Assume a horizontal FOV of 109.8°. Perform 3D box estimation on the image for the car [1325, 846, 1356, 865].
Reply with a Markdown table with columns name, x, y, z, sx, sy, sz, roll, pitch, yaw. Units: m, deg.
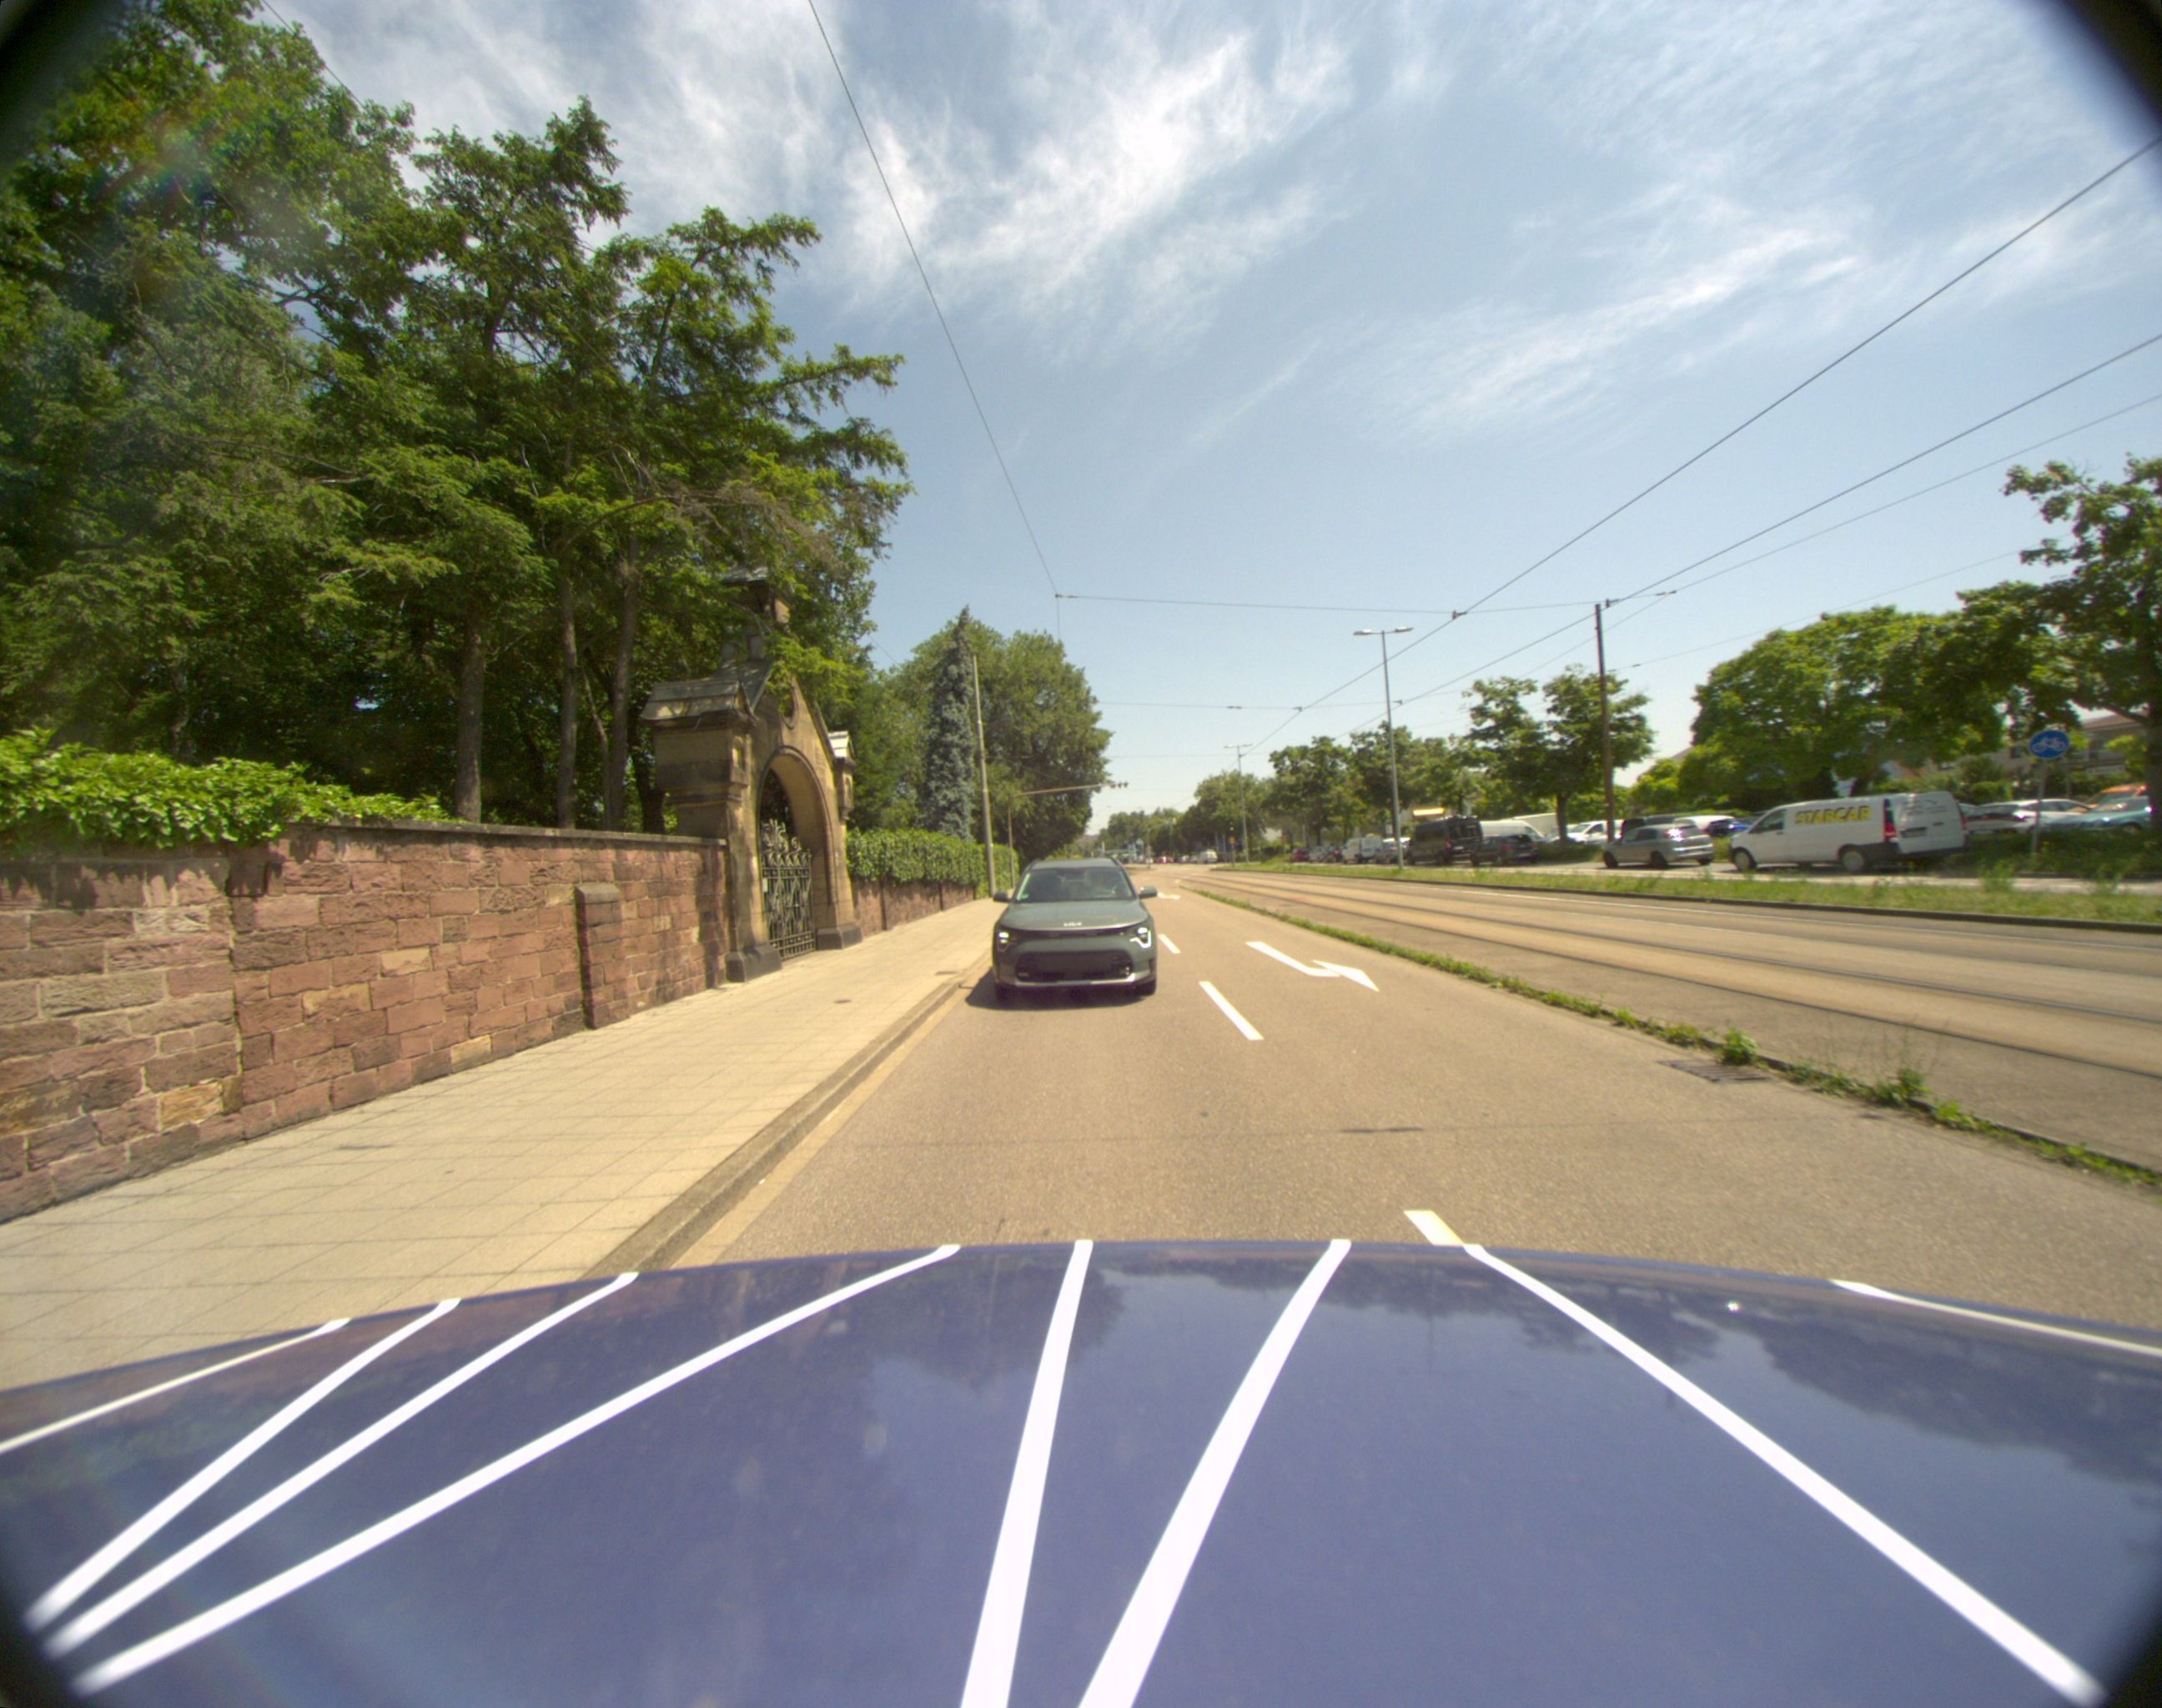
| name | x | y | z | sx | sy | sz | roll | pitch | yaw |
| --- | --- | --- | --- | --- | --- | --- | --- | --- | --- |
| car | 21.259 | 0.108 | 62.442 | 1.429 | 1.469 | 3.263 | -3 | 1 | 1 |

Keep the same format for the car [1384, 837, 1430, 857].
| name | x | y | z | sx | sy | sz | roll | pitch | yaw |
| --- | --- | --- | --- | --- | --- | --- | --- | --- | --- |
| car | 33.695 | -0.742 | 78.607 | 3.998 | 1.863 | 1.715 | -3 | 1 | -5 |

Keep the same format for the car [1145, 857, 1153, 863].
| name | x | y | z | sx | sy | sz | roll | pitch | yaw |
| --- | --- | --- | --- | --- | --- | --- | --- | --- | --- |
| car | 16.509 | 1.383 | 183.476 | 1.780 | 1.310 | 3.755 | -3 | 1 | 3 |

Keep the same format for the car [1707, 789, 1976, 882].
| name | x | y | z | sx | sy | sz | roll | pitch | yaw |
| --- | --- | --- | --- | --- | --- | --- | --- | --- | --- |
| car | 20.167 | -0.447 | 20.624 | 1.880 | 1.999 | 5.344 | -7 | 0 | 2 |

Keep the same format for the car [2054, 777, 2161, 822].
| name | x | y | z | sx | sy | sz | roll | pitch | yaw |
| --- | --- | --- | --- | --- | --- | --- | --- | --- | --- |
| car | 43.952 | -2.319 | 31.944 | 4.129 | 1.643 | 1.692 | -3 | 0 | -4 |

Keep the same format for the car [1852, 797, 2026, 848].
| name | x | y | z | sx | sy | sz | roll | pitch | yaw |
| --- | --- | --- | --- | --- | --- | --- | --- | --- | --- |
| car | 30.595 | -1.104 | 27.179 | 4.163 | 1.481 | 2.023 | -4 | 0 | -6 |

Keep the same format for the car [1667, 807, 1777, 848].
| name | x | y | z | sx | sy | sz | roll | pitch | yaw |
| --- | --- | --- | --- | --- | --- | --- | --- | --- | --- |
| car | 31.920 | -1.318 | 37.906 | 3.998 | 1.707 | 1.797 | -4 | 0 | -3 |

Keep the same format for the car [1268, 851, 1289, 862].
| name | x | y | z | sx | sy | sz | roll | pitch | yaw |
| --- | --- | --- | --- | --- | --- | --- | --- | --- | --- |
| car | 22.245 | 0.257 | 85.673 | 1.581 | 1.152 | 3.424 | -3 | 1 | 3 |

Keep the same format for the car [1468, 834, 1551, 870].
| name | x | y | z | sx | sy | sz | roll | pitch | yaw |
| --- | --- | --- | --- | --- | --- | --- | --- | --- | --- |
| car | 20.625 | -0.099 | 36.772 | 1.975 | 1.568 | 3.752 | -3 | 1 | 2 |

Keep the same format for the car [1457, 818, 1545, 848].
| name | x | y | z | sx | sy | sz | roll | pitch | yaw |
| --- | --- | --- | --- | --- | --- | --- | --- | --- | --- |
| car | 31.448 | -1.562 | 57.013 | 5.434 | 1.944 | 2.029 | -3 | 1 | 3 |

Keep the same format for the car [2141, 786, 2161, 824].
| name | x | y | z | sx | sy | sz | roll | pitch | yaw |
| --- | --- | --- | --- | --- | --- | --- | --- | --- | --- |
| car | 44.426 | -2.016 | 29.658 | 3.998 | 1.486 | 1.715 | -3 | 1 | -4 |

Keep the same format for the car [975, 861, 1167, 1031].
| name | x | y | z | sx | sy | sz | roll | pitch | yaw |
| --- | --- | --- | --- | --- | --- | --- | --- | --- | --- |
| car | -0.081 | 0.942 | 9.739 | 1.824 | 1.577 | 4.288 | -4 | 0 | 0 |

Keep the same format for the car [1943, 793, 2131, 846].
| name | x | y | z | sx | sy | sz | roll | pitch | yaw |
| --- | --- | --- | --- | --- | --- | --- | --- | --- | --- |
| car | 31.072 | -1.096 | 24.760 | 4.145 | 1.481 | 1.859 | -3 | 1 | -6 |

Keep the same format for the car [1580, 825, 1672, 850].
| name | x | y | z | sx | sy | sz | roll | pitch | yaw |
| --- | --- | --- | --- | --- | --- | --- | --- | --- | --- |
| car | 31.022 | -0.944 | 43.299 | 3.998 | 1.137 | 1.735 | -4 | 0 | -3 |

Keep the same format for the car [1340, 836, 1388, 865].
| name | x | y | z | sx | sy | sz | roll | pitch | yaw |
| --- | --- | --- | --- | --- | --- | --- | --- | --- | --- |
| car | 21.124 | -0.269 | 56.862 | 1.924 | 1.937 | 4.817 | -3 | 1 | 3 |

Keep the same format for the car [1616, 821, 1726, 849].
| name | x | y | z | sx | sy | sz | roll | pitch | yaw |
| --- | --- | --- | --- | --- | --- | --- | --- | --- | --- |
| car | 31.335 | -0.982 | 40.422 | 4.260 | 1.137 | 2.033 | -4 | 0 | -3 |

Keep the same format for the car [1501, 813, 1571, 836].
| name | x | y | z | sx | sy | sz | roll | pitch | yaw |
| --- | --- | --- | --- | --- | --- | --- | --- | --- | --- |
| car | 46.068 | -2.986 | 77.026 | 5.744 | 2.051 | 2.147 | -3 | 1 | -1 |

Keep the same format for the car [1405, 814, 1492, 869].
| name | x | y | z | sx | sy | sz | roll | pitch | yaw |
| --- | --- | --- | --- | --- | --- | --- | --- | --- | --- |
| car | 20.618 | -0.670 | 42.960 | 2.243 | 2.821 | 5.667 | -3 | 1 | 2 |

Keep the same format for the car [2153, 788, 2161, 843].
| name | x | y | z | sx | sy | sz | roll | pitch | yaw |
| --- | --- | --- | --- | --- | --- | --- | --- | --- | --- |
| car | 31.204 | -1.189 | 19.616 | 4.171 | 1.481 | 1.984 | -4 | 0 | 0 |

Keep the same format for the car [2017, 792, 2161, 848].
| name | x | y | z | sx | sy | sz | roll | pitch | yaw |
| --- | --- | --- | --- | --- | --- | --- | --- | --- | --- |
| car | 30.518 | -1.023 | 22.310 | 4.040 | 1.481 | 1.912 | -3 | 1 | -6 |

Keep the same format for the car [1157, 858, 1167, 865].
| name | x | y | z | sx | sy | sz | roll | pitch | yaw |
| --- | --- | --- | --- | --- | --- | --- | --- | --- | --- |
| car | 17.672 | 1.640 | 165.465 | 1.820 | 1.471 | 3.424 | -3 | 1 | 3 |

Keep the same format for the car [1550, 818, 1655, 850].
| name | x | y | z | sx | sy | sz | roll | pitch | yaw |
| --- | --- | --- | --- | --- | --- | --- | --- | --- | --- |
| car | 31.636 | -1.186 | 46.190 | 4.926 | 1.567 | 2.000 | -4 | 0 | -1 |

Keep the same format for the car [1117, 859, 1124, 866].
| name | x | y | z | sx | sy | sz | roll | pitch | yaw |
| --- | --- | --- | --- | --- | --- | --- | --- | --- | --- |
| car | 12.787 | 2.792 | 246.501 | 1.780 | 1.907 | 3.754 | -3 | 1 | 1 |

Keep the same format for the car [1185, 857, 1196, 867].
| name | x | y | z | sx | sy | sz | roll | pitch | yaw |
| --- | --- | --- | --- | --- | --- | --- | --- | --- | --- |
| car | 21.697 | 1.545 | 150.638 | 1.703 | 1.842 | 3.983 | -3 | 1 | 3 |

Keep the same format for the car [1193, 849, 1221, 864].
| name | x | y | z | sx | sy | sz | roll | pitch | yaw |
| --- | --- | --- | --- | --- | --- | --- | --- | --- | --- |
| car | 17.486 | 0.402 | 105.514 | 1.824 | 1.979 | 4.206 | -3 | 1 | -23 |

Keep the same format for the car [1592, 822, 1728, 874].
| name | x | y | z | sx | sy | sz | roll | pitch | yaw |
| --- | --- | --- | --- | --- | --- | --- | --- | --- | --- |
| car | 20.339 | -0.198 | 26.948 | 1.653 | 1.494 | 4.126 | -7 | 0 | 2 |

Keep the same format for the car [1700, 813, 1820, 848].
| name | x | y | z | sx | sy | sz | roll | pitch | yaw |
| --- | --- | --- | --- | --- | --- | --- | --- | --- | --- |
| car | 31.441 | -1.074 | 35.256 | 3.998 | 1.398 | 1.797 | -3 | 0 | -3 |

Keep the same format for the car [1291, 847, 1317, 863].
| name | x | y | z | sx | sy | sz | roll | pitch | yaw |
| --- | --- | --- | --- | --- | --- | --- | --- | --- | --- |
| car | 21.561 | 0.064 | 73.629 | 1.581 | 1.471 | 3.424 | -3 | 1 | 3 |

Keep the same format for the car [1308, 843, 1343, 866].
| name | x | y | z | sx | sy | sz | roll | pitch | yaw |
| --- | --- | --- | --- | --- | --- | --- | --- | --- | --- |
| car | 21.540 | -0.007 | 67.132 | 1.635 | 1.882 | 4.497 | -3 | 1 | 1 |

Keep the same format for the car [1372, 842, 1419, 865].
| name | x | y | z | sx | sy | sz | roll | pitch | yaw |
| --- | --- | --- | --- | --- | --- | --- | --- | --- | --- |
| car | 21.074 | -0.048 | 51.011 | 1.767 | 1.456 | 3.608 | -3 | 1 | 3 |
